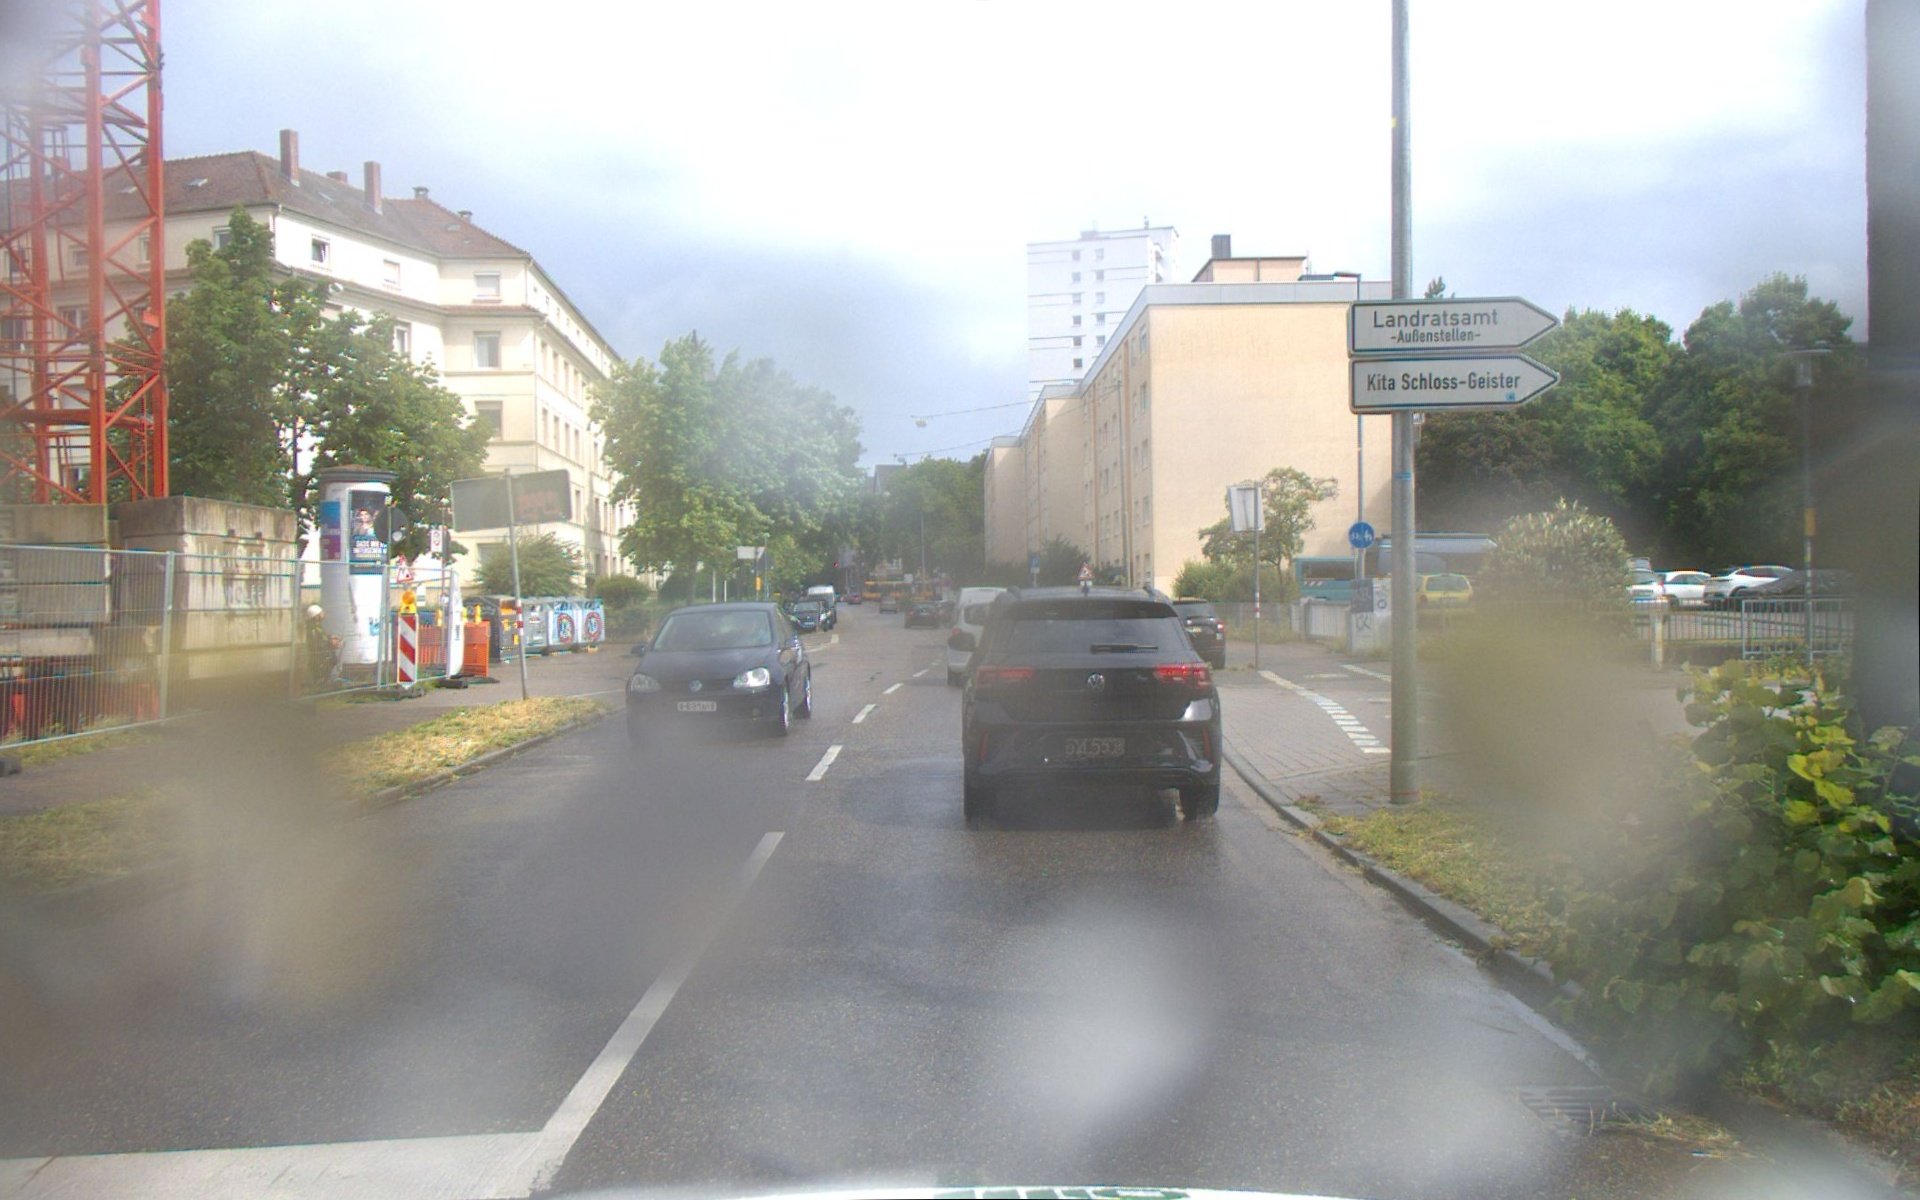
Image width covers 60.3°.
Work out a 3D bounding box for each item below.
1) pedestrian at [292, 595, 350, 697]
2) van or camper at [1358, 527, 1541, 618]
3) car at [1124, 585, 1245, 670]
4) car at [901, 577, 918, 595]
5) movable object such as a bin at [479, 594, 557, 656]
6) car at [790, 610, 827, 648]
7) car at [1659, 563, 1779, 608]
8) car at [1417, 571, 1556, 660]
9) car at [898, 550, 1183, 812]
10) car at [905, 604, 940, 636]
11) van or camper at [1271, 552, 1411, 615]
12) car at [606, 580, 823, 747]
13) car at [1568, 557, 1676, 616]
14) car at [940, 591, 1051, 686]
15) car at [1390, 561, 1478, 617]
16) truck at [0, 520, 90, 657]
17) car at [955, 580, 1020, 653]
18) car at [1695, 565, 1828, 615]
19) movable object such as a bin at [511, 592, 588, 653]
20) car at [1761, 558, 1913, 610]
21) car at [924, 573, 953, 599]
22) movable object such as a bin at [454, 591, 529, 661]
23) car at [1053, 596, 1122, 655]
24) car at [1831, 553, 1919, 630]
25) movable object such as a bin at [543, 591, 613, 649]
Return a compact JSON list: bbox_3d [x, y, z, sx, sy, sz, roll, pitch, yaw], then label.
[{"bbox_3d":[-10.559,0.753,27.331,0.716,1.658,0.675,2,-1,-38],"label":"pedestrian"},{"bbox_3d":[14.754,-0.799,50.063,4.895,2.599,2.175,-1,-1,1],"label":"van or camper"},{"bbox_3d":[4.635,0.539,34.762,1.738,1.566,4.376,-3,0,-2],"label":"car"},{"bbox_3d":[-5.405,-1.530,176.791,1.632,1.870,3.998,-2,0,-3],"label":"car"},{"bbox_3d":[-12.598,0.697,47.213,1.505,1.685,1.528,-2,1,18],"label":"movable object such as a bin"},{"bbox_3d":[-6.826,1.285,74.653,1.555,1.532,4.060,-2,0,-5],"label":"car"},{"bbox_3d":[27.603,-0.519,60.209,3.590,1.512,1.640,-2,0,2],"label":"car"},{"bbox_3d":[11.504,0.318,36.405,1.766,1.780,4.239,-2,0,2],"label":"car"},{"bbox_3d":[0.500,0.547,12.753,1.835,1.674,4.061,1,-1,-1],"label":"car"},{"bbox_3d":[-1.965,0.995,85.414,1.573,1.536,3.545,-2,0,-4],"label":"car"},{"bbox_3d":[13.885,-0.612,60.504,4.660,2.168,2.322,-1,0,3],"label":"van or camper"},{"bbox_3d":[-2.698,0.653,19.050,1.803,1.636,4.000,-3,0,0],"label":"car"},{"bbox_3d":[18.391,-0.375,46.096,1.615,1.512,3.719,-2,0,2],"label":"car"},{"bbox_3d":[0.563,0.652,28.925,1.776,1.529,3.999,1,-1,-1],"label":"car"},{"bbox_3d":[13.273,-0.313,46.502,1.577,1.474,3.418,-2,0,2],"label":"car"},{"bbox_3d":[-27.220,-0.137,41.237,9.603,3.240,3.795,-2,0,13],"label":"truck"},{"bbox_3d":[0.814,0.521,51.507,1.799,2.140,3.998,1,-1,-2],"label":"car"},{"bbox_3d":[26.646,-0.338,55.065,3.590,1.512,1.640,-2,0,2],"label":"car"},{"bbox_3d":[-12.087,0.660,48.782,1.505,1.703,1.666,-2,1,18],"label":"movable object such as a bin"},{"bbox_3d":[27.772,-0.513,52.437,3.892,1.491,1.673,-2,0,1],"label":"car"},{"bbox_3d":[-1.462,-0.955,113.942,1.803,1.636,3.675,-3,0,0],"label":"car"},{"bbox_3d":[-12.931,0.705,45.668,1.505,1.856,1.264,-2,1,18],"label":"movable object such as a bin"},{"bbox_3d":[3.518,0.720,46.329,1.720,1.554,4.000,1,-1,2],"label":"car"},{"bbox_3d":[20.343,-0.204,34.933,1.790,1.553,4.425,-2,0,4],"label":"car"},{"bbox_3d":[-11.604,0.601,50.306,1.505,1.691,1.459,-2,1,18],"label":"movable object such as a bin"}]
